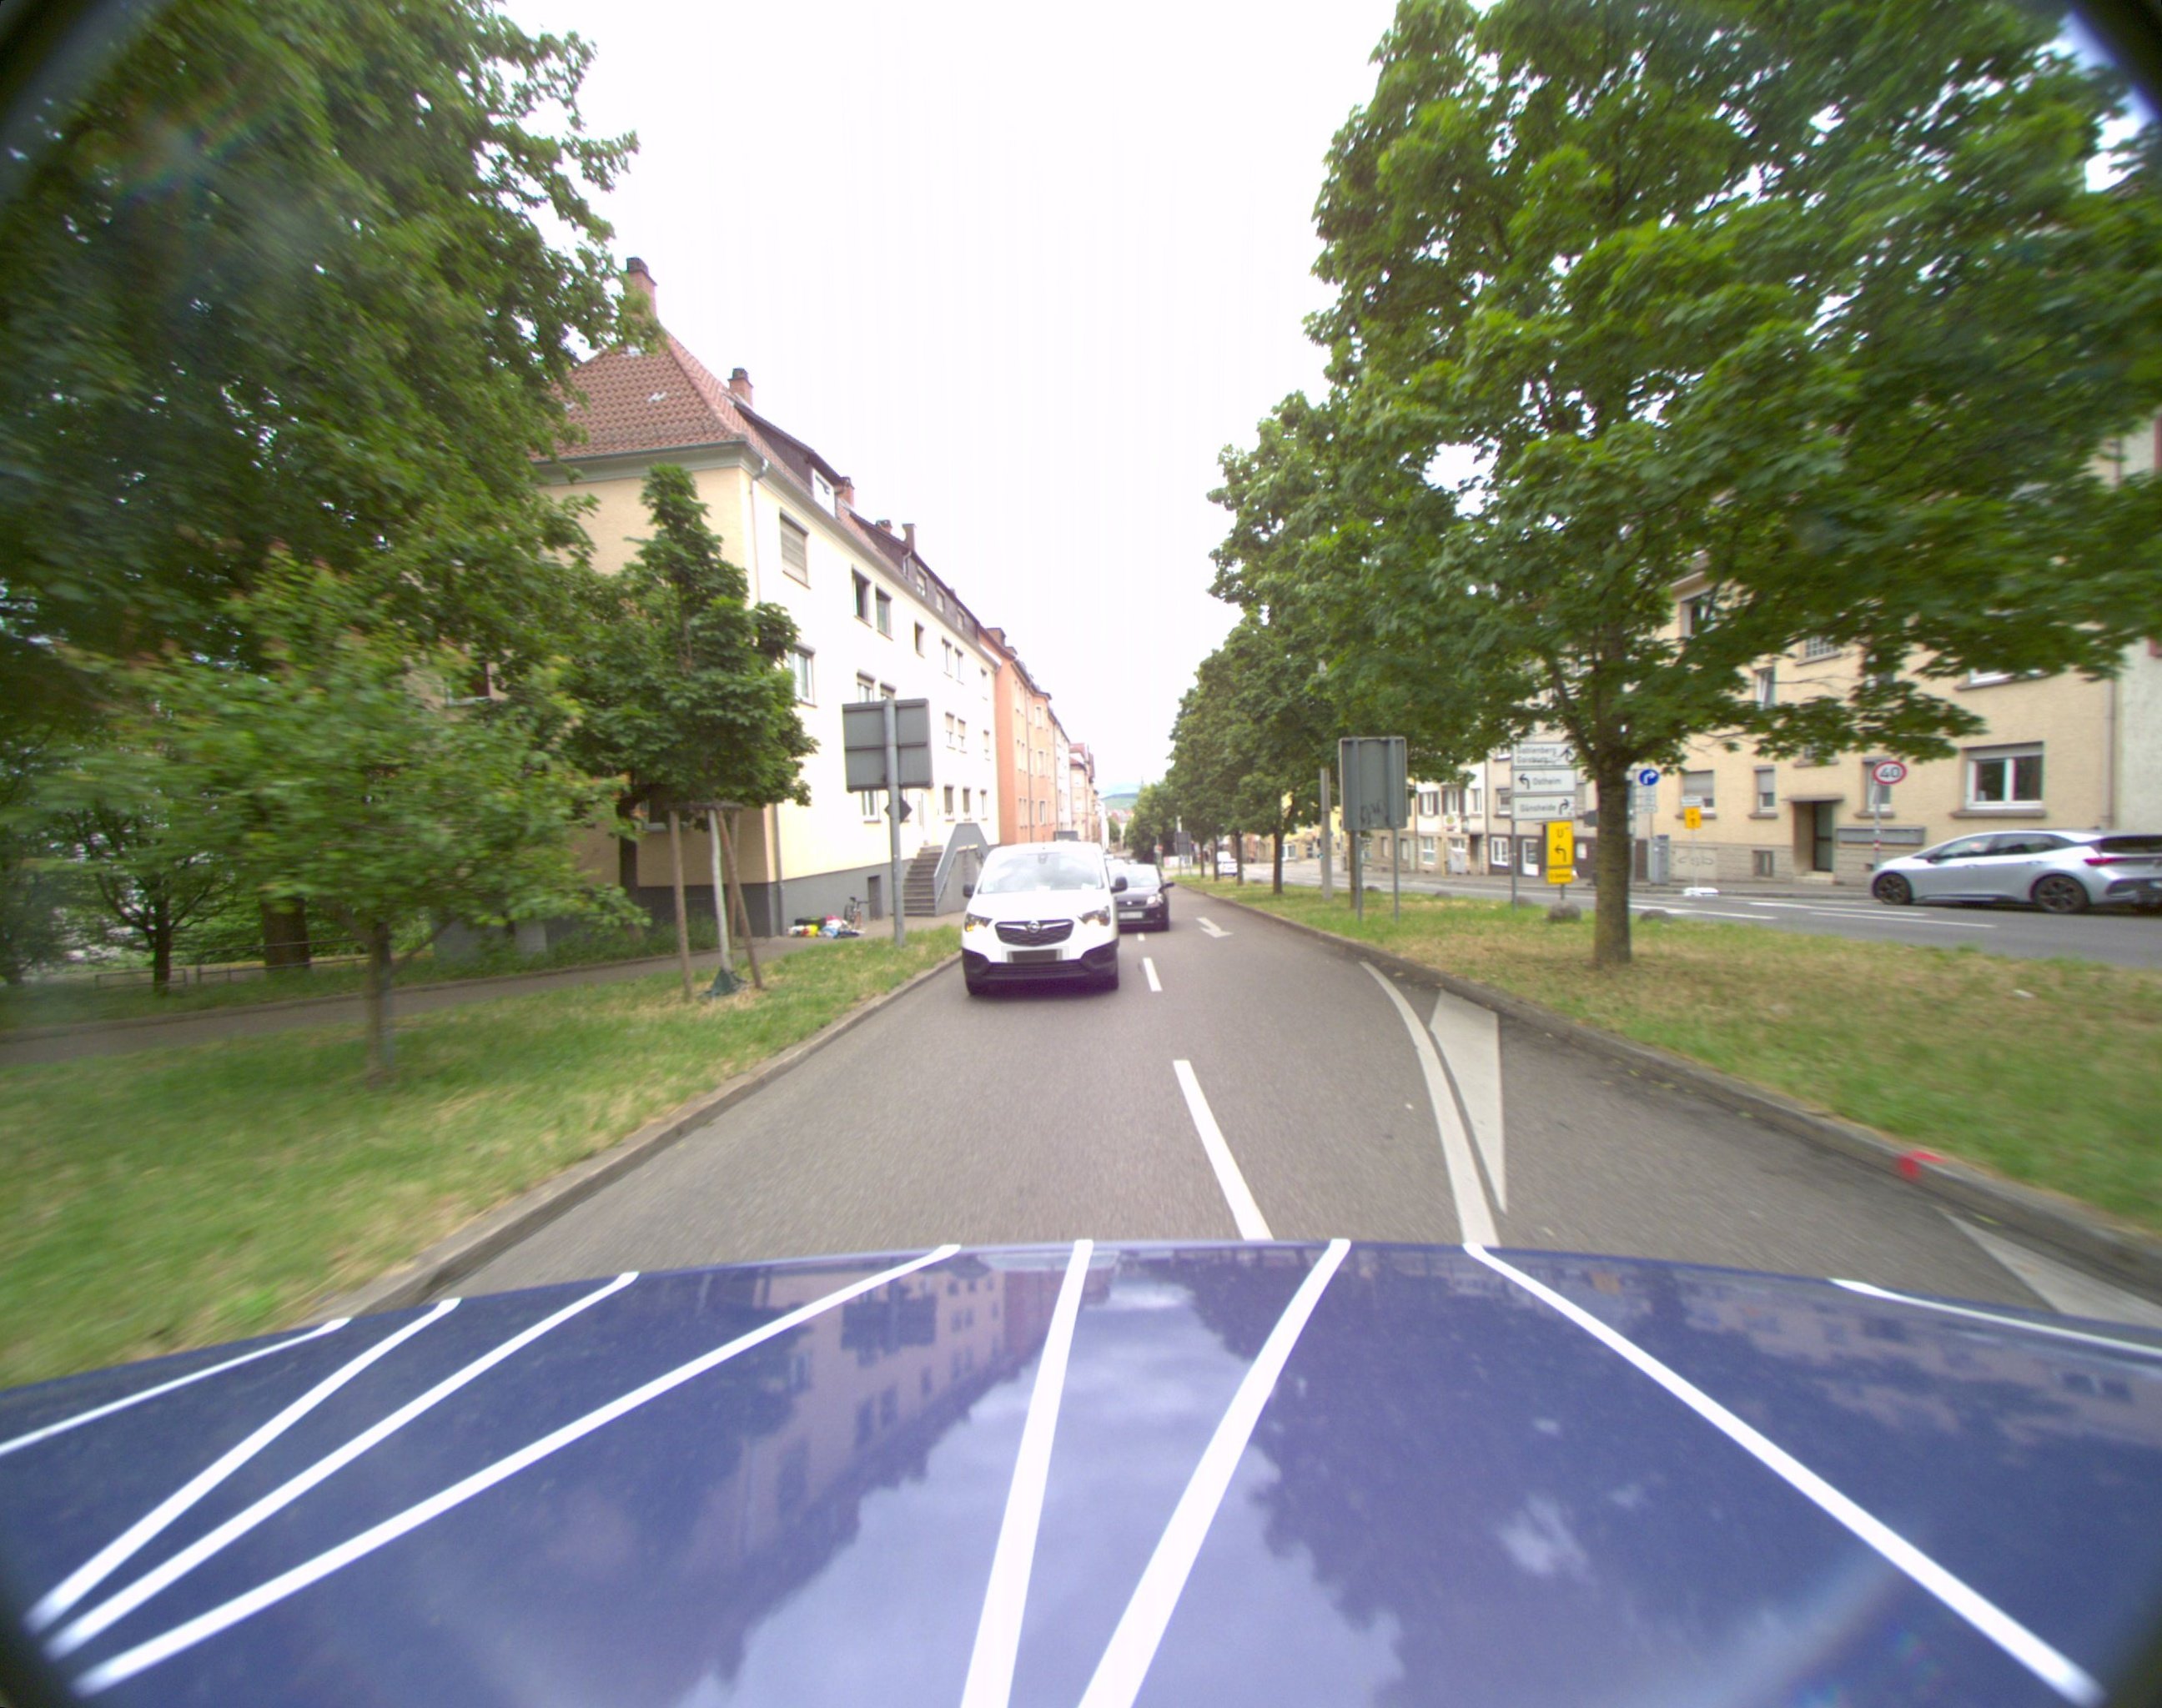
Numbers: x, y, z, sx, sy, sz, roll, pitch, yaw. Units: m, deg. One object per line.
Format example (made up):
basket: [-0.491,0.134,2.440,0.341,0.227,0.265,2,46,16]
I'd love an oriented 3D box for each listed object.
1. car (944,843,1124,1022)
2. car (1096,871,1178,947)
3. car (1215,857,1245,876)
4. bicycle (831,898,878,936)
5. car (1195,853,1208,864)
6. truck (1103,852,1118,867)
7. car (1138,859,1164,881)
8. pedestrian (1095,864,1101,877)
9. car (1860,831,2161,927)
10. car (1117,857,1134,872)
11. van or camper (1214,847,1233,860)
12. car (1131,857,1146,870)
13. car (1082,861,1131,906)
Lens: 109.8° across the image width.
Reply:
car: [-0.393,0.845,10.361,1.788,1.778,4.845,-3,0,2]
car: [1.234,1.177,17.514,1.604,1.448,3.685,-4,-1,2]
car: [12.243,0.982,62.792,1.750,1.458,4.587,-2,0,3]
bicycle: [-5.430,1.504,18.276,0.489,0.768,1.558,-2,0,6]
car: [21.231,0.862,134.238,1.883,1.804,4.354,-3,-2,4]
truck: [6.062,1.092,155.106,2.552,2.891,7.780,-2,0,5]
car: [5.484,1.251,60.045,1.784,1.583,3.533,0,1,1]
pedestrian: [2.232,2.118,98.487,0.734,1.638,1.005,-3,0,1]
car: [18.075,0.400,14.599,1.998,1.543,4.159,-2,0,2]
car: [5.128,1.231,87.597,1.784,1.583,3.533,0,1,1]
van or camper: [19.155,-0.061,102.402,1.912,1.751,4.656,-3,0,4]
car: [7.589,1.196,100.053,1.784,1.583,3.533,0,1,1]
car: [1.086,1.150,31.510,1.780,1.598,4.164,-5,-1,3]
